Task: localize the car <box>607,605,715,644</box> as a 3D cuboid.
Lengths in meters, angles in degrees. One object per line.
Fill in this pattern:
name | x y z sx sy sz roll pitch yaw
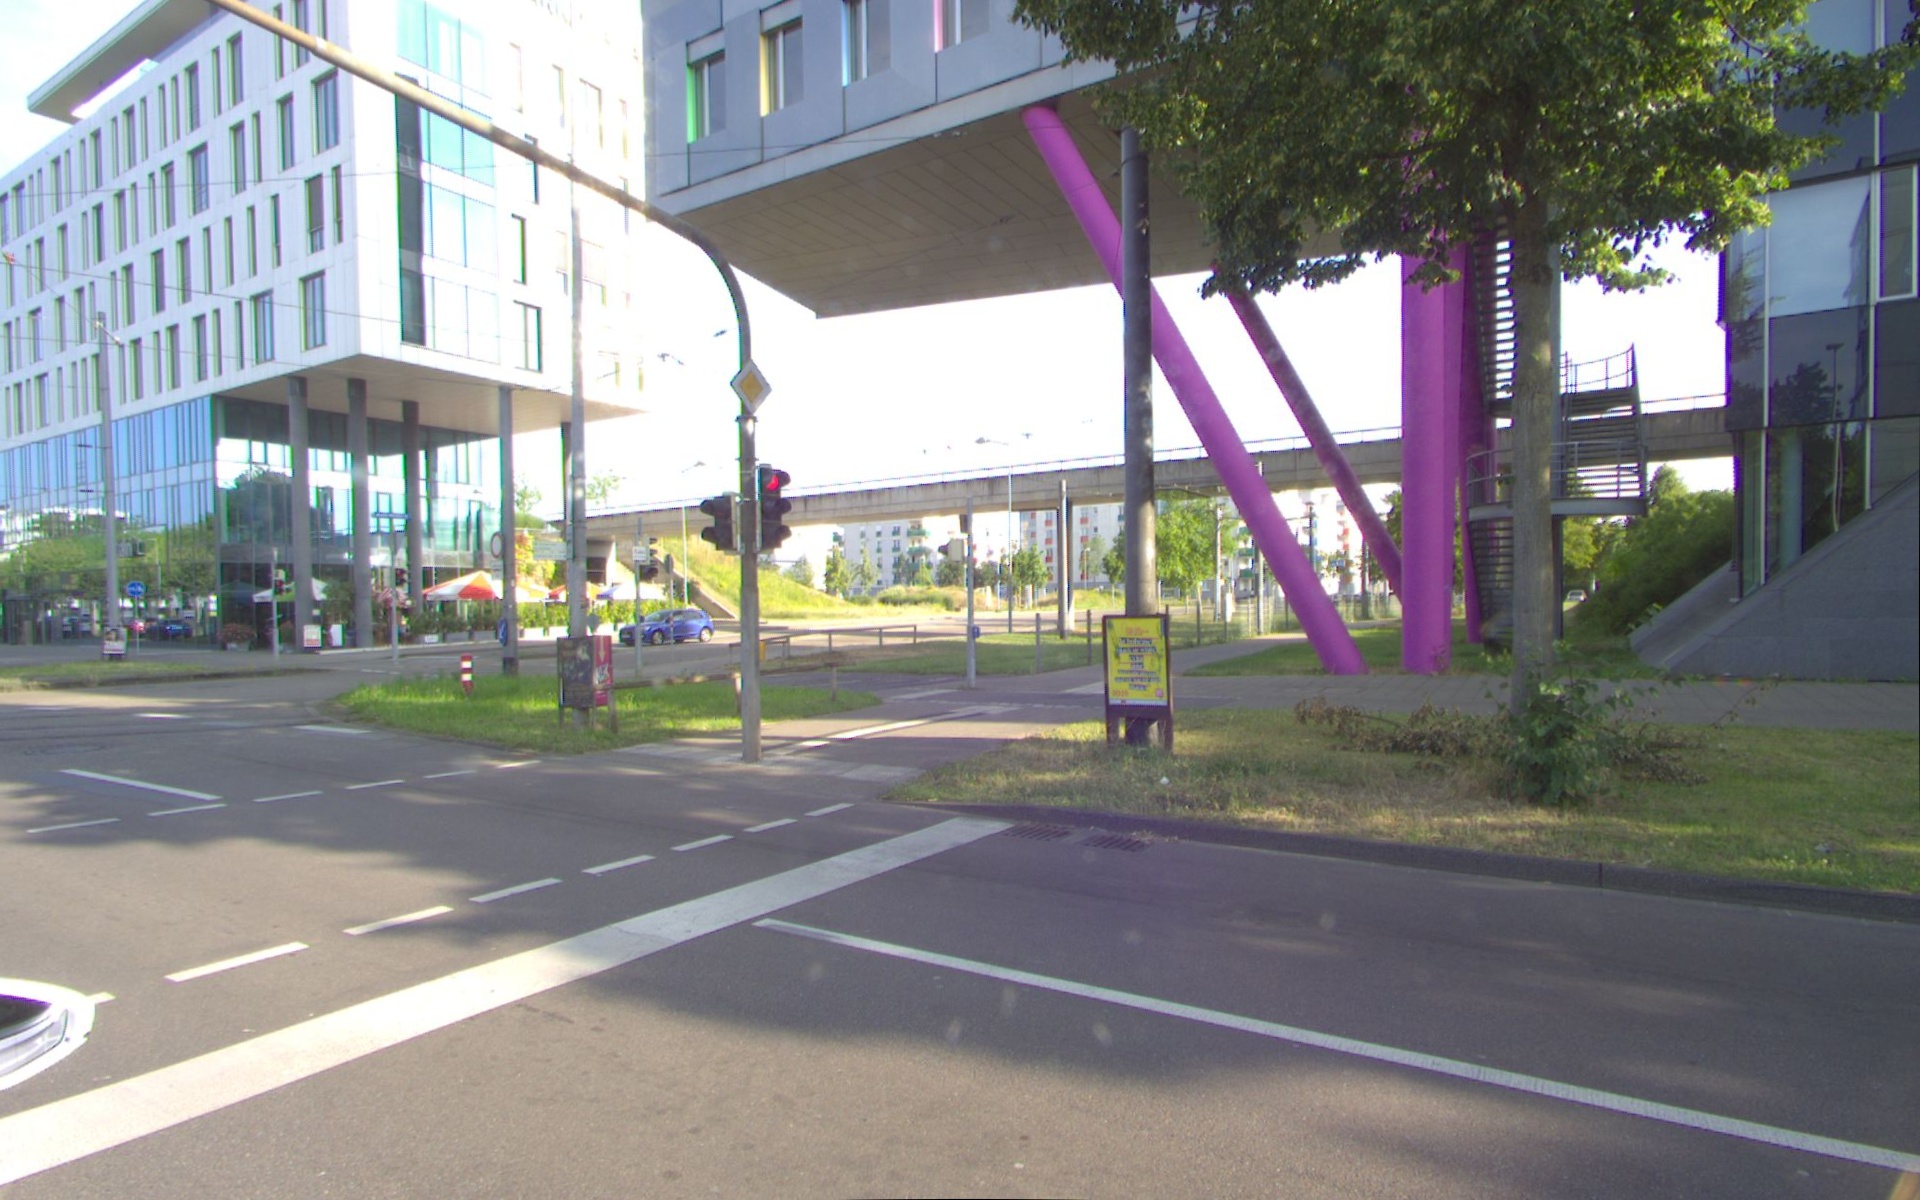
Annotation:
car | -12.466 0.981 41.949 1.832 1.443 4.176 0 1 31
